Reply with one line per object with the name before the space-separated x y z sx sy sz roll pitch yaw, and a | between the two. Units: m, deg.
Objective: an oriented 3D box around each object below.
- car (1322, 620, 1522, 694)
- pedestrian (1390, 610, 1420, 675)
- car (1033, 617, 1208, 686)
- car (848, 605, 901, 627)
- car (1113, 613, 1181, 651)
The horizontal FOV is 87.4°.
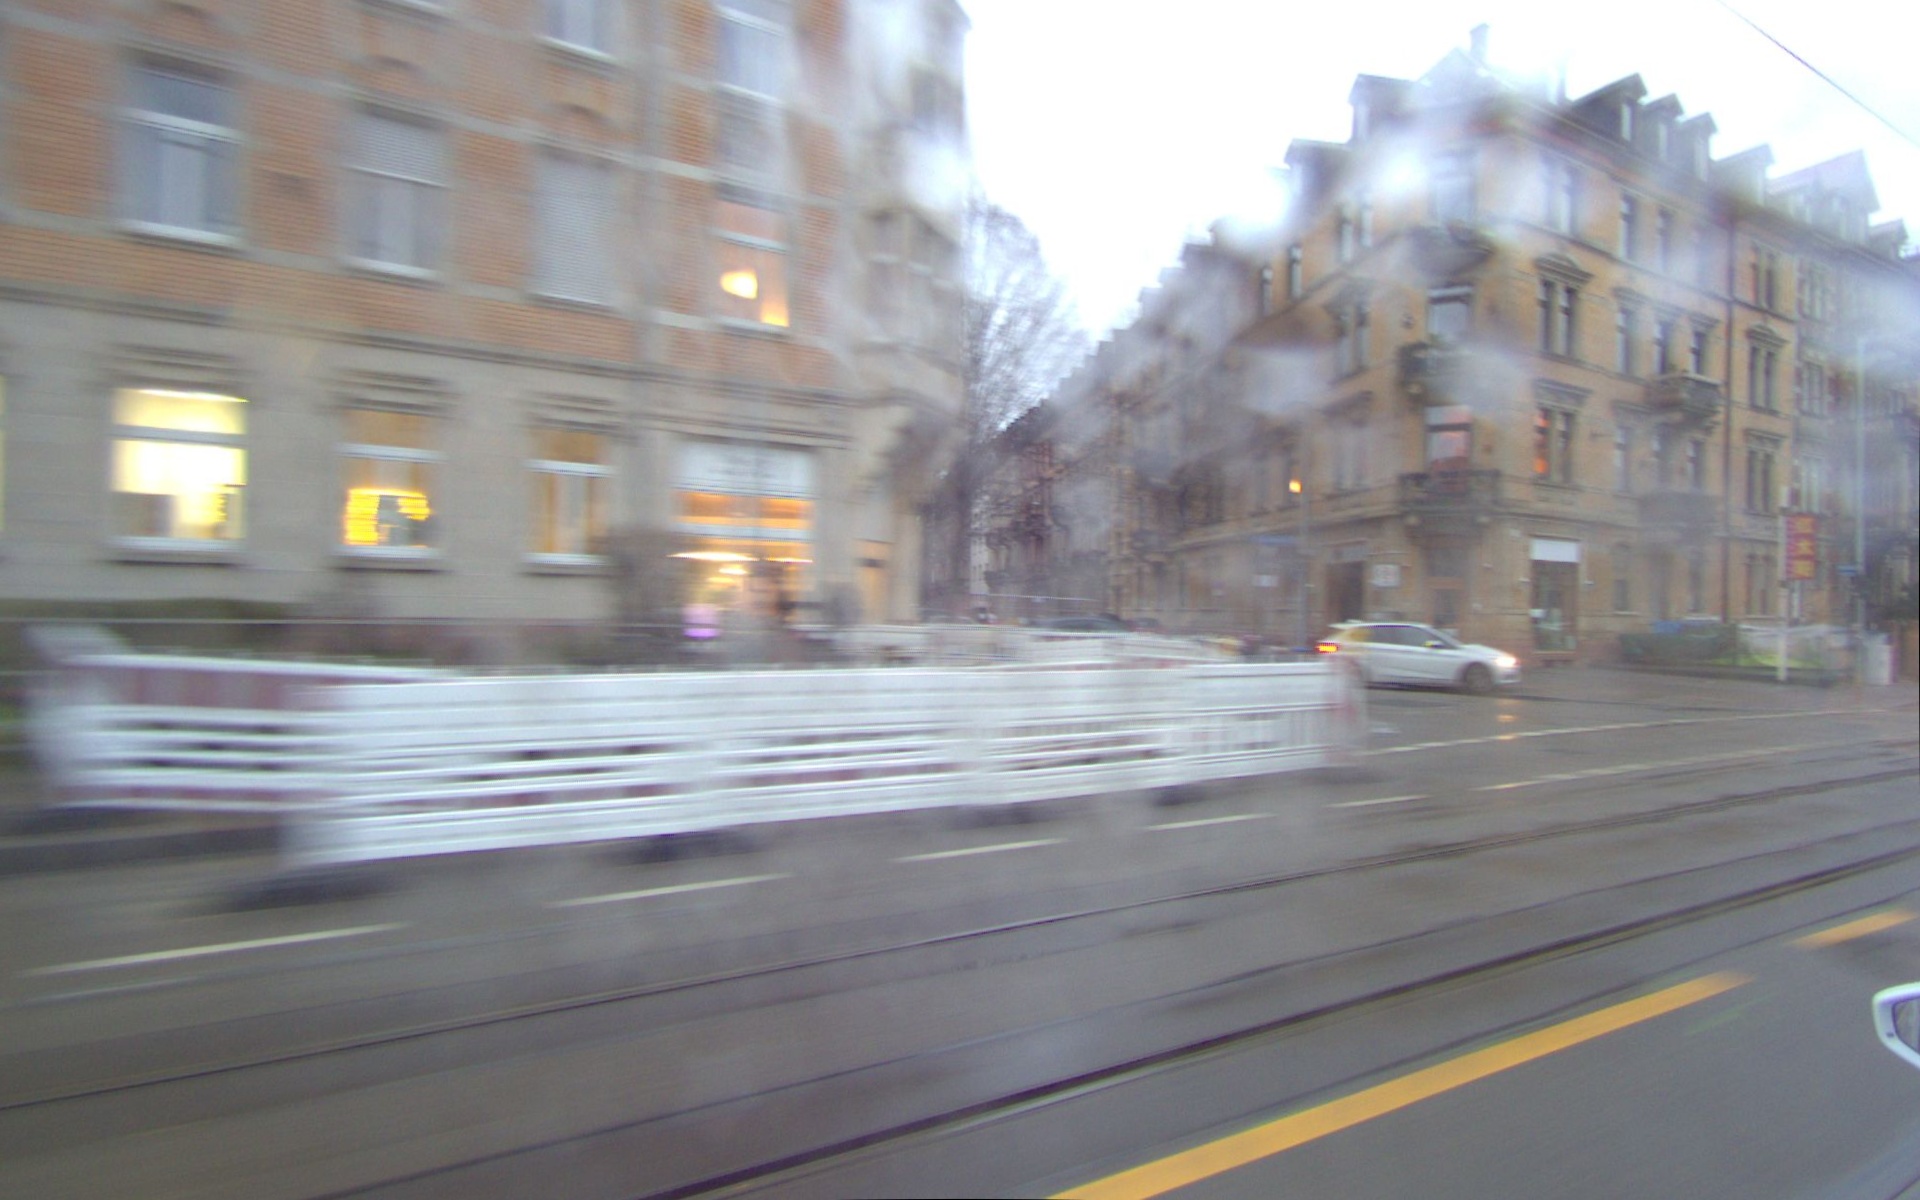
car | 10.818 1.283 23.693 4.094 1.546 1.998 1 -1 25
pedestrian | 12.589 1.181 28.412 0.708 1.797 0.769 1 0 28
car | 3.834 1.227 24.429 3.923 1.550 1.728 1 0 -3
car | -7.650 1.454 89.507 4.430 1.901 1.995 1 -1 -13
car | 7.942 1.344 43.087 1.726 1.546 3.940 1 -1 -8
